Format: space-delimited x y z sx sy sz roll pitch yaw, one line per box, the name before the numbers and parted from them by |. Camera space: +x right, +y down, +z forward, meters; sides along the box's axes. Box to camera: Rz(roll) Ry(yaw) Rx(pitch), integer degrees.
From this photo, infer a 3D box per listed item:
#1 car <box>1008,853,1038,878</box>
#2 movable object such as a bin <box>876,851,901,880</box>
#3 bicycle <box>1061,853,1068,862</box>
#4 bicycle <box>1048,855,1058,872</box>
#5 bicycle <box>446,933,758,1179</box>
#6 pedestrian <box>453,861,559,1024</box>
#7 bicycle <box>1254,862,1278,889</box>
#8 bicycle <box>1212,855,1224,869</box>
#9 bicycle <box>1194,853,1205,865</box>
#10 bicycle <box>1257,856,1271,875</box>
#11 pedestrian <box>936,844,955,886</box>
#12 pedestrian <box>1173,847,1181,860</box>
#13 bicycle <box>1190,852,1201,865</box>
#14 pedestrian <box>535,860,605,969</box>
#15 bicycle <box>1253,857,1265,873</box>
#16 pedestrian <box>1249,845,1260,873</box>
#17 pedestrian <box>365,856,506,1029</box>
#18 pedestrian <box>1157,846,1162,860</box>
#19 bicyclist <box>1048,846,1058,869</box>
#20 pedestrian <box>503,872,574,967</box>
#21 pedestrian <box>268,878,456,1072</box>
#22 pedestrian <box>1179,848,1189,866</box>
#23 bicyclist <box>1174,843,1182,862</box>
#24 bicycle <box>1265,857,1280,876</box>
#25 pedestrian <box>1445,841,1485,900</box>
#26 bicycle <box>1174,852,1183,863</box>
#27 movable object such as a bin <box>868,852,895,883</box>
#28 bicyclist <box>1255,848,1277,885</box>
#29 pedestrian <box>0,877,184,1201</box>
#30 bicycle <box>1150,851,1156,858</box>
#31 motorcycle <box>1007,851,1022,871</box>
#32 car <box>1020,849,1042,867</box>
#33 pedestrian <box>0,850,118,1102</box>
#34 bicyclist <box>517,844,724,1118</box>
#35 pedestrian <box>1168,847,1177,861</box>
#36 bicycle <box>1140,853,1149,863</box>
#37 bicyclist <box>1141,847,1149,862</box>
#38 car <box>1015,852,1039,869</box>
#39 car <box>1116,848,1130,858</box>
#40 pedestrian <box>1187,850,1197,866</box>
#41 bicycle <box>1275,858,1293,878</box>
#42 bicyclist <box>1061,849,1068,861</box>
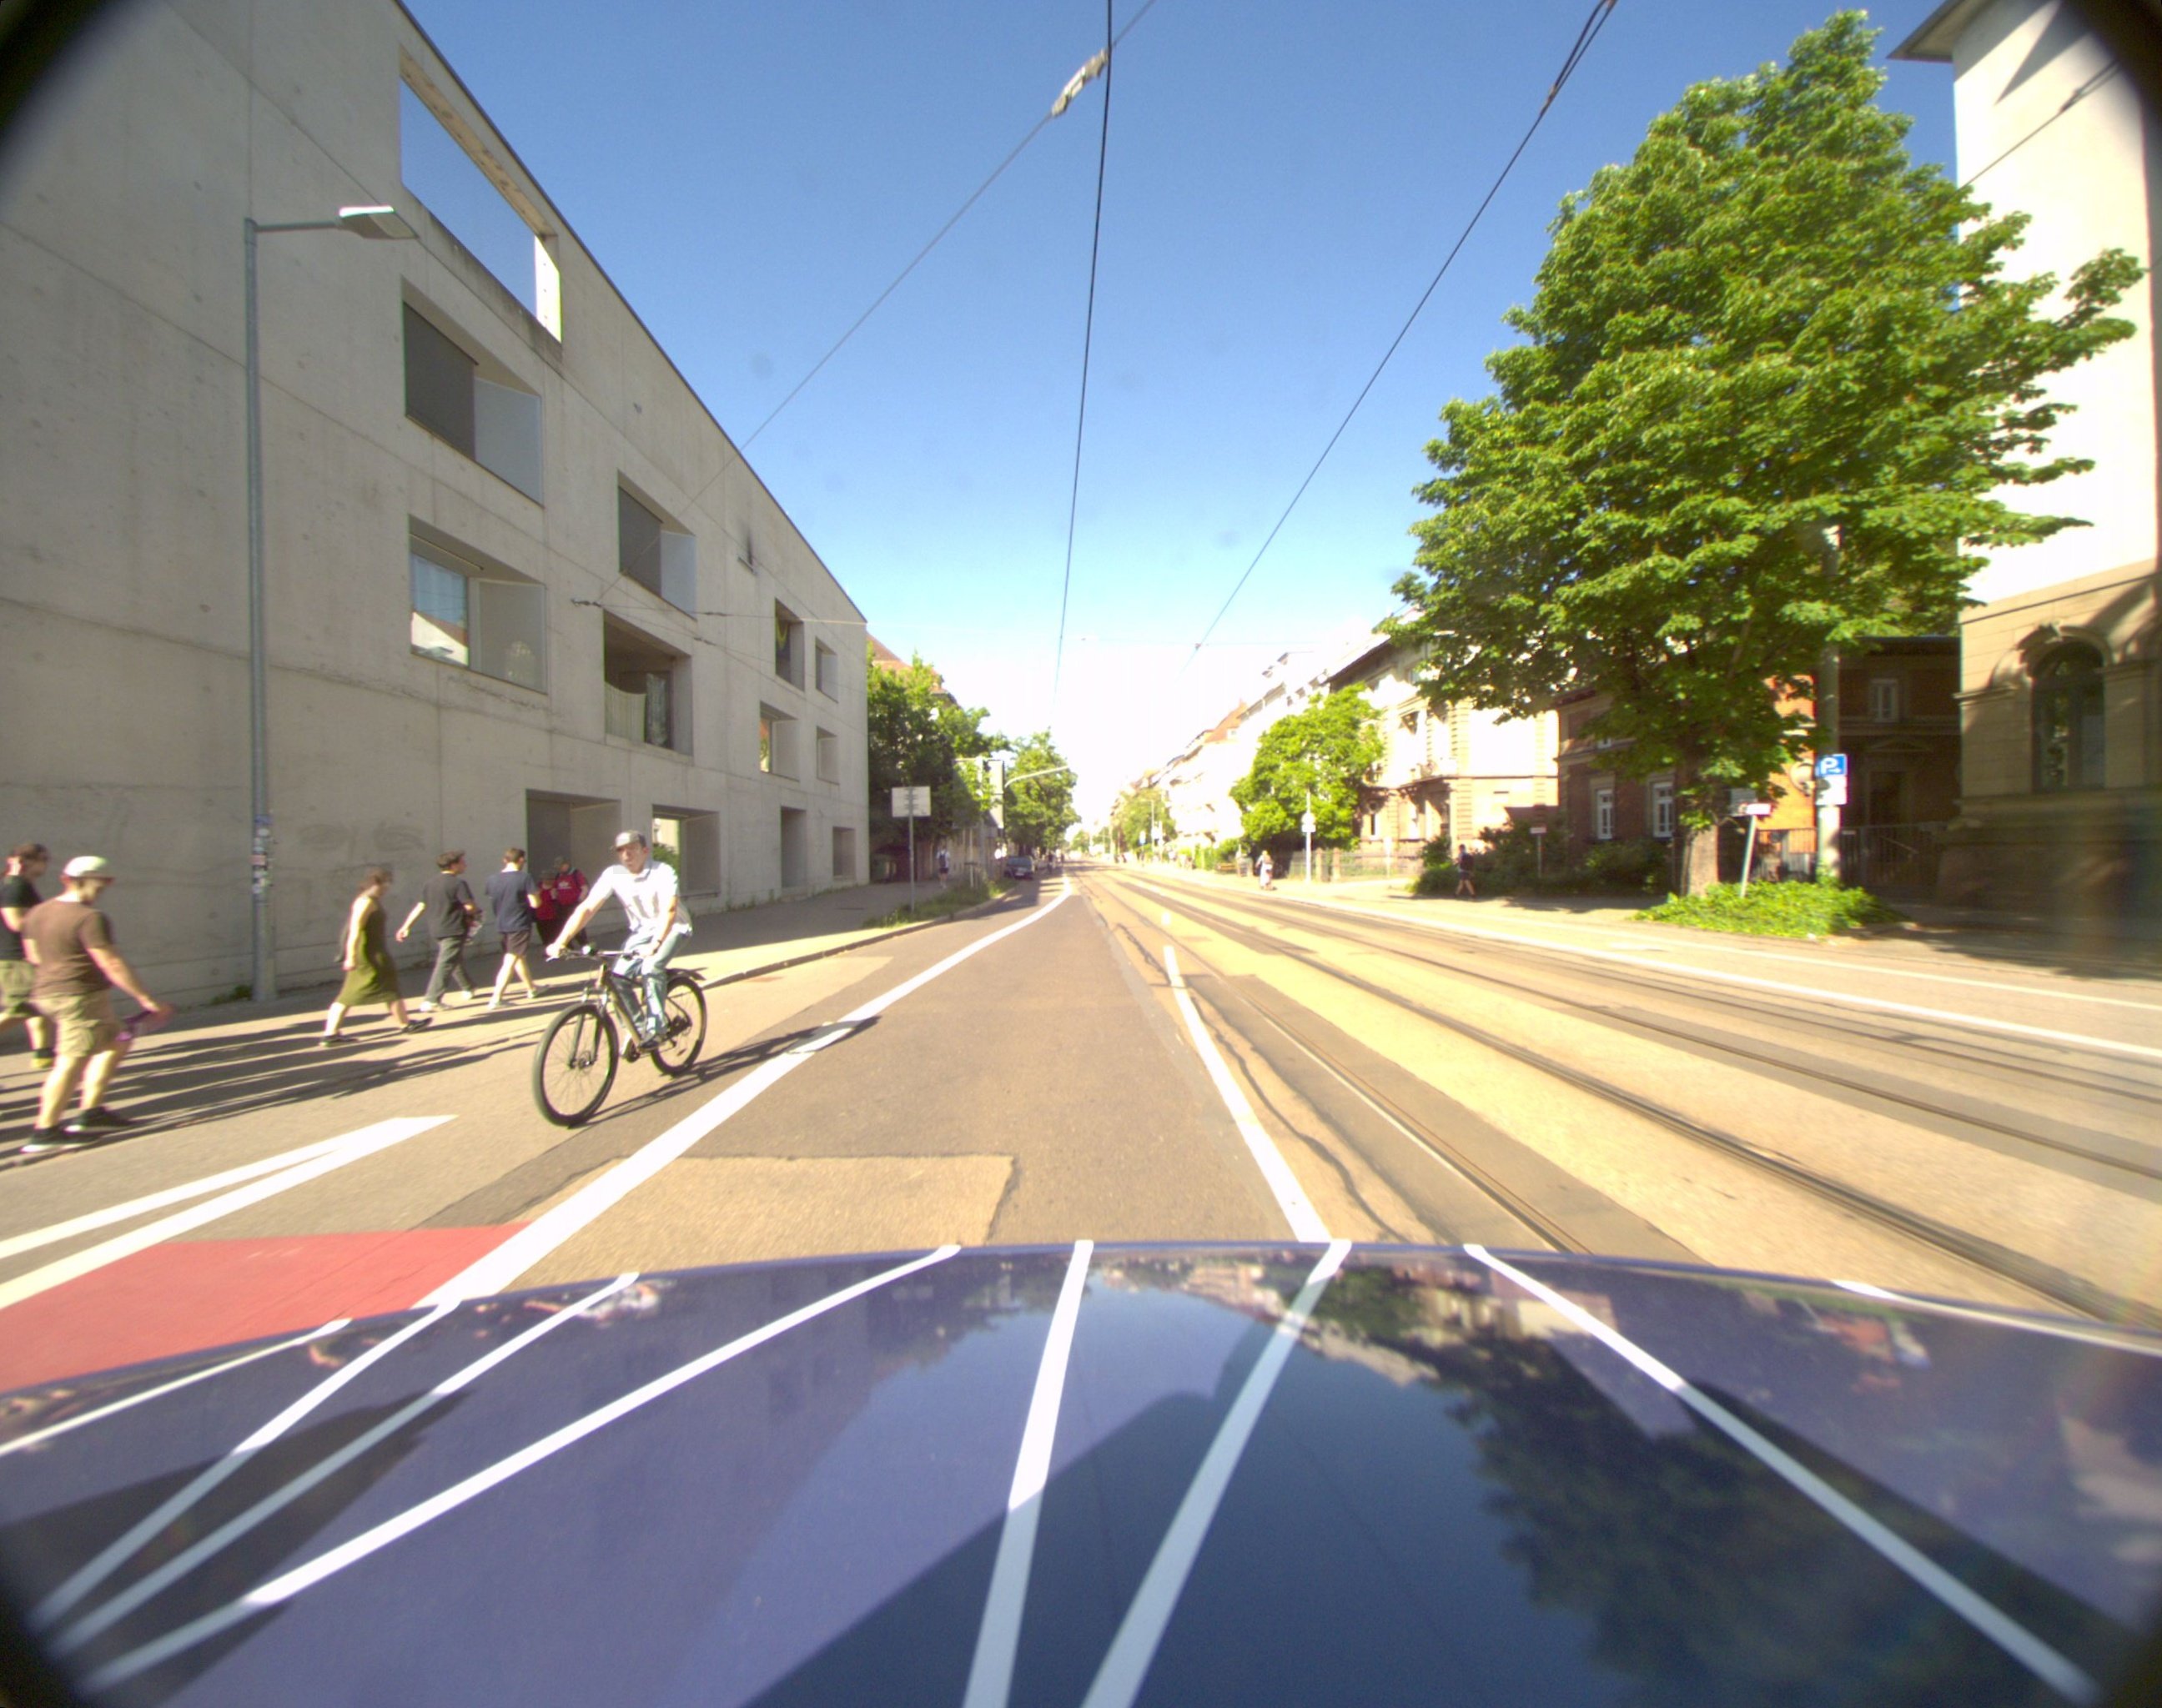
car | -3.755 0.716 48.760 1.827 1.450 4.815 1 0 -5
movable object such as a bin | -9.753 0.572 38.597 0.936 1.455 1.331 -1 1 -2
bicycle | -1.979 0.461 91.976 0.776 1.080 2.058 -1 1 -4
bicycle | -2.136 0.729 58.353 0.763 1.235 2.095 -2 1 -2
bicycle | -3.067 1.216 5.208 0.740 1.088 2.111 -2 1 1
pedestrian | -6.500 0.961 8.626 0.496 1.718 0.816 4 1 1
bicycle | 8.337 0.948 34.254 0.688 1.118 1.931 1 1 3
bicycle | 10.873 0.663 60.393 0.640 1.053 1.742 -3 1 0
bicycle | 11.110 0.478 71.400 0.663 1.083 1.839 -3 1 -1
bicycle | 11.545 0.705 47.981 0.647 1.137 1.905 -3 1 7
pedestrian | -5.967 0.482 33.594 0.685 1.839 0.955 1 1 -3
pedestrian | 12.223 -0.066 96.564 0.705 1.645 0.834 1 3 30
bicycle | 11.051 0.431 73.315 0.663 1.083 1.839 -3 1 -1
pedestrian | -7.812 0.902 11.643 0.519 1.591 0.764 0 1 2
bicycle | 11.597 0.706 49.426 0.637 1.039 2.024 0 1 15
pedestrian | 11.296 0.324 49.431 0.576 1.821 0.690 0 1 18
pedestrian | -7.090 0.927 8.390 0.649 1.753 0.956 4 1 2
pedestrian | 10.220 -0.113 98.924 0.558 1.771 0.538 -1 1 -5
bicyclist | -2.147 0.290 58.364 0.763 1.728 1.046 -2 1 -2
pedestrian | -8.358 0.984 11.733 0.519 1.396 0.764 0 1 2
pedestrian | -6.614 1.059 7.039 0.830 1.595 0.894 4 1 9
pedestrian | 9.541 0.266 70.595 0.756 1.704 0.808 -2 1 -1
bicyclist | 9.751 -0.176 76.012 0.705 1.843 0.986 0 2 12
bicycle | 11.510 0.748 45.636 0.591 1.039 1.905 -2 1 7
pedestrian | 12.249 0.521 24.256 0.732 1.787 0.778 -4 1 -23
bicycle | 9.754 0.322 76.025 0.705 1.049 1.836 0 2 12
movable object such as a bin | -9.633 0.651 36.700 0.935 1.455 1.355 -1 1 0
bicyclist | 8.345 0.537 34.266 0.688 1.635 1.237 1 1 3
pedestrian | -6.155 1.035 4.580 0.607 1.737 0.718 3 1 7
bicycle | 9.887 0.065 104.308 0.515 1.032 2.222 -1 1 -1
motorcycle | -4.999 0.510 57.382 0.916 1.480 2.679 1 1 0
car | -4.800 0.376 73.366 1.815 1.616 4.583 2 0 -1
pedestrian | -8.068 0.883 5.730 0.658 1.792 0.732 3 1 7
bicyclist | -3.079 0.787 5.193 0.740 1.676 0.971 -2 1 1
pedestrian | 11.541 0.053 95.725 0.692 1.758 0.868 0 1 43
bicycle | 7.157 0.480 85.391 0.747 1.075 1.898 2 1 0
bicyclist | 7.177 0.065 85.402 0.747 1.590 1.117 2 1 0
car | -4.608 0.543 65.508 1.728 1.374 4.355 1 0 0
car | 6.944 -0.245 126.161 1.869 1.567 4.587 1 1 -1
pedestrian | 10.305 0.386 70.623 0.756 1.469 0.956 -2 1 -1
bicycle | 11.569 0.786 43.335 0.591 1.039 1.905 -2 1 2
bicyclist | -1.981 0.115 91.976 0.776 1.505 1.229 -1 1 -4
